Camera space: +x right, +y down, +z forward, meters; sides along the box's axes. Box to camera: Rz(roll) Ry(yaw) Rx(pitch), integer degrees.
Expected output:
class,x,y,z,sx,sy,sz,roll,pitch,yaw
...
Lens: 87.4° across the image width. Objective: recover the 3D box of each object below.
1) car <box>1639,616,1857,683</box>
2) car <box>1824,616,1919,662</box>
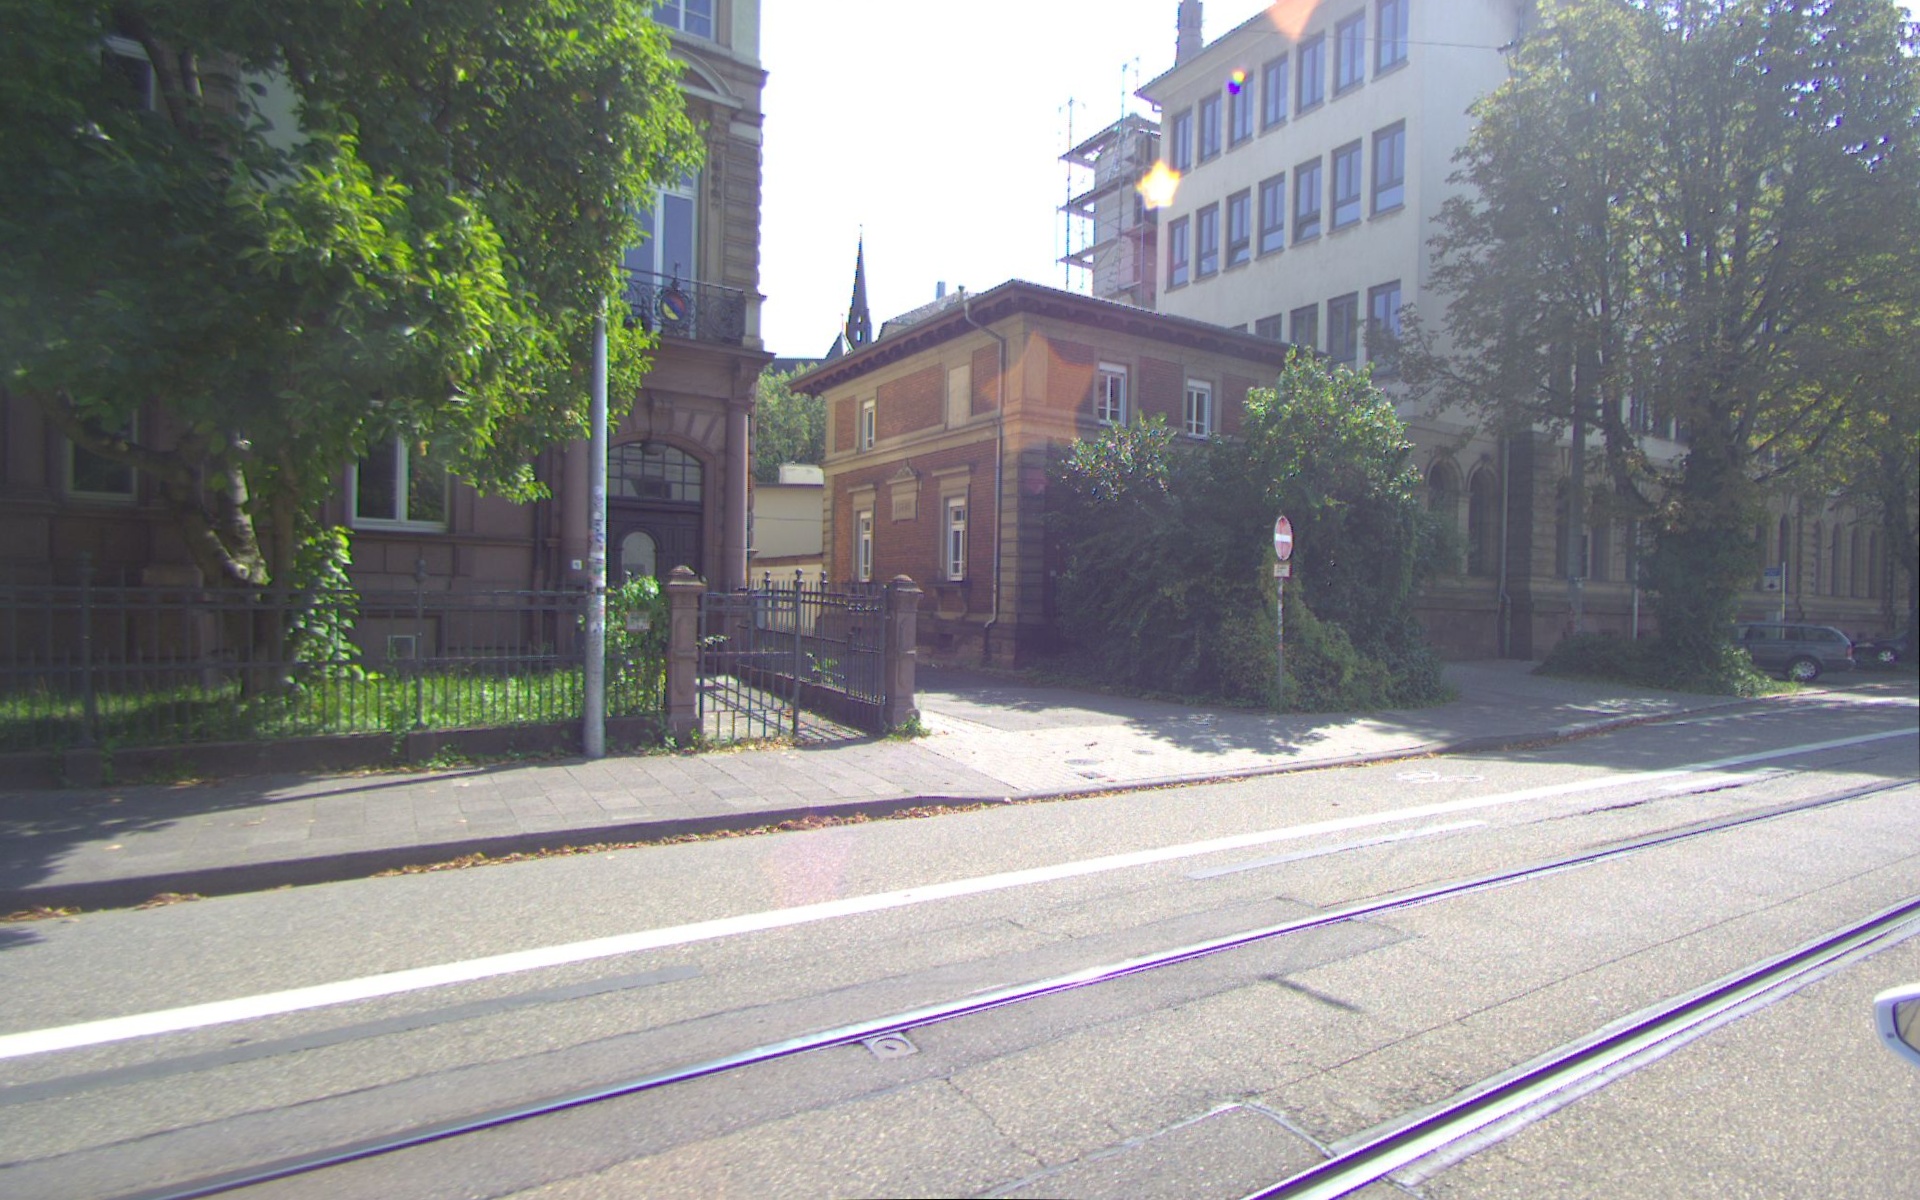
class,x,y,z,sx,sy,sz,roll,pitch,yaw
car,20.834,1.255,26.829,4.352,1.481,1.817,2,1,32
car,33.195,1.367,35.122,4.082,1.516,1.821,1,0,21
